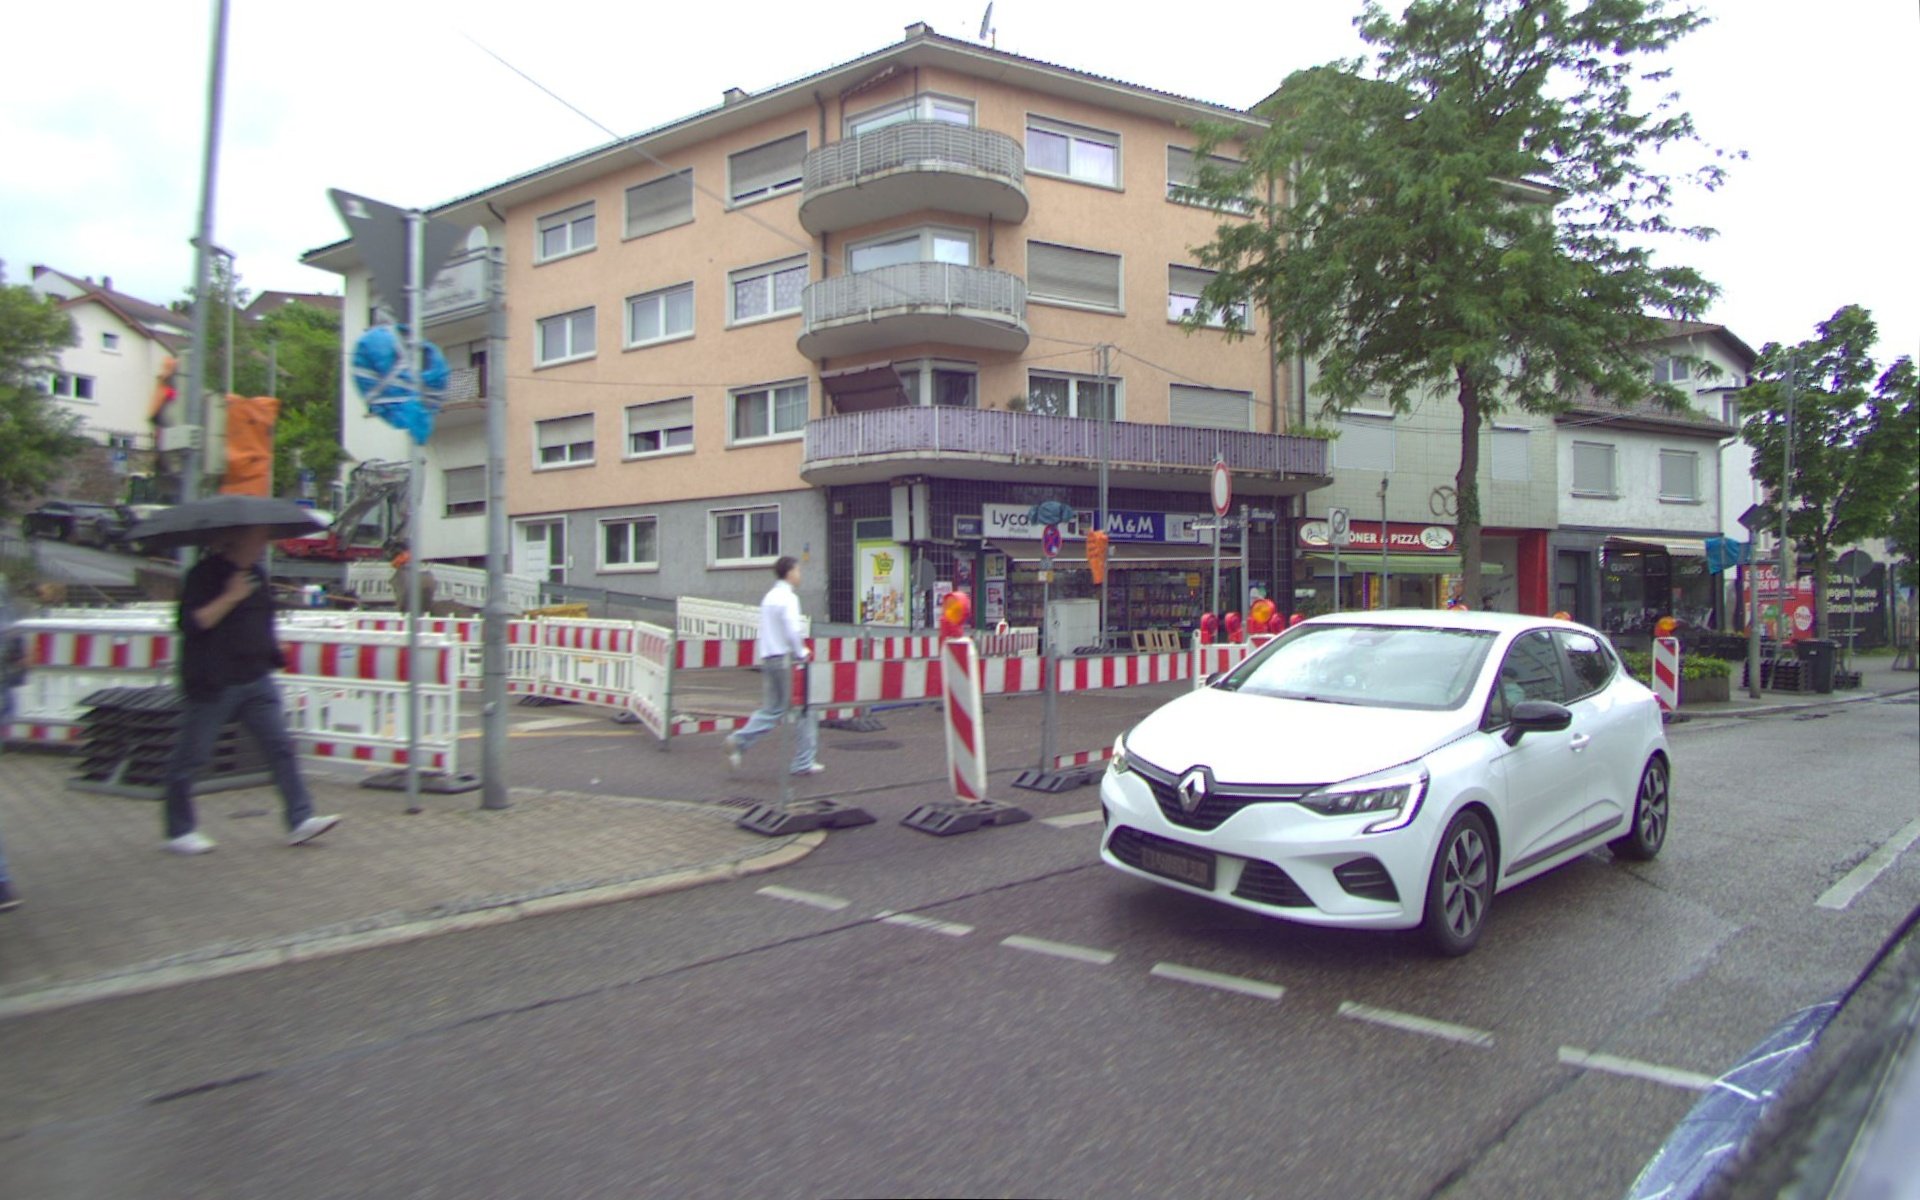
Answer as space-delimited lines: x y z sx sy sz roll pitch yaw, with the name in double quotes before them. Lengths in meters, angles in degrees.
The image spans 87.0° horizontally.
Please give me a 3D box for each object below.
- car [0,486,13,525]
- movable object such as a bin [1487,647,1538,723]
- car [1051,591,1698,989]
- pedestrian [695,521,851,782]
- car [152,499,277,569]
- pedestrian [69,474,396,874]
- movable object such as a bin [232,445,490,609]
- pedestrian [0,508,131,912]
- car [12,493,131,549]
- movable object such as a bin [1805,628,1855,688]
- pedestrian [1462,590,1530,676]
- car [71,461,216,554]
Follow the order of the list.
"car" -42.350 -4.193 43.101 4.189 1.584 1.869 8 3 32
"movable object such as a bin" 7.168 1.090 13.134 0.522 0.941 0.420 2 -1 -41
"car" 2.480 0.711 5.552 3.929 1.421 1.679 1 -1 -40
"pedestrian" -1.464 0.378 7.970 0.655 1.903 0.978 0 -1 42
"car" -22.831 -2.027 30.982 3.692 1.745 1.744 8 3 31
"pedestrian" -3.768 0.337 5.344 0.904 1.884 1.029 -1 2 9
"movable object such as a bin" -15.430 -1.902 25.985 6.483 3.681 2.714 5 2 29
"pedestrian" -4.417 0.464 4.504 0.811 1.709 0.789 0 2 20
"car" -32.571 -2.910 37.071 4.508 1.584 1.871 8 3 29
"movable object such as a bin" 17.236 1.140 20.054 0.652 1.125 0.580 2 0 -34
"pedestrian" 11.733 0.695 22.164 0.888 1.814 0.972 0 2 -9
"car" -27.751 -3.158 34.361 5.052 2.647 1.873 7 3 27
